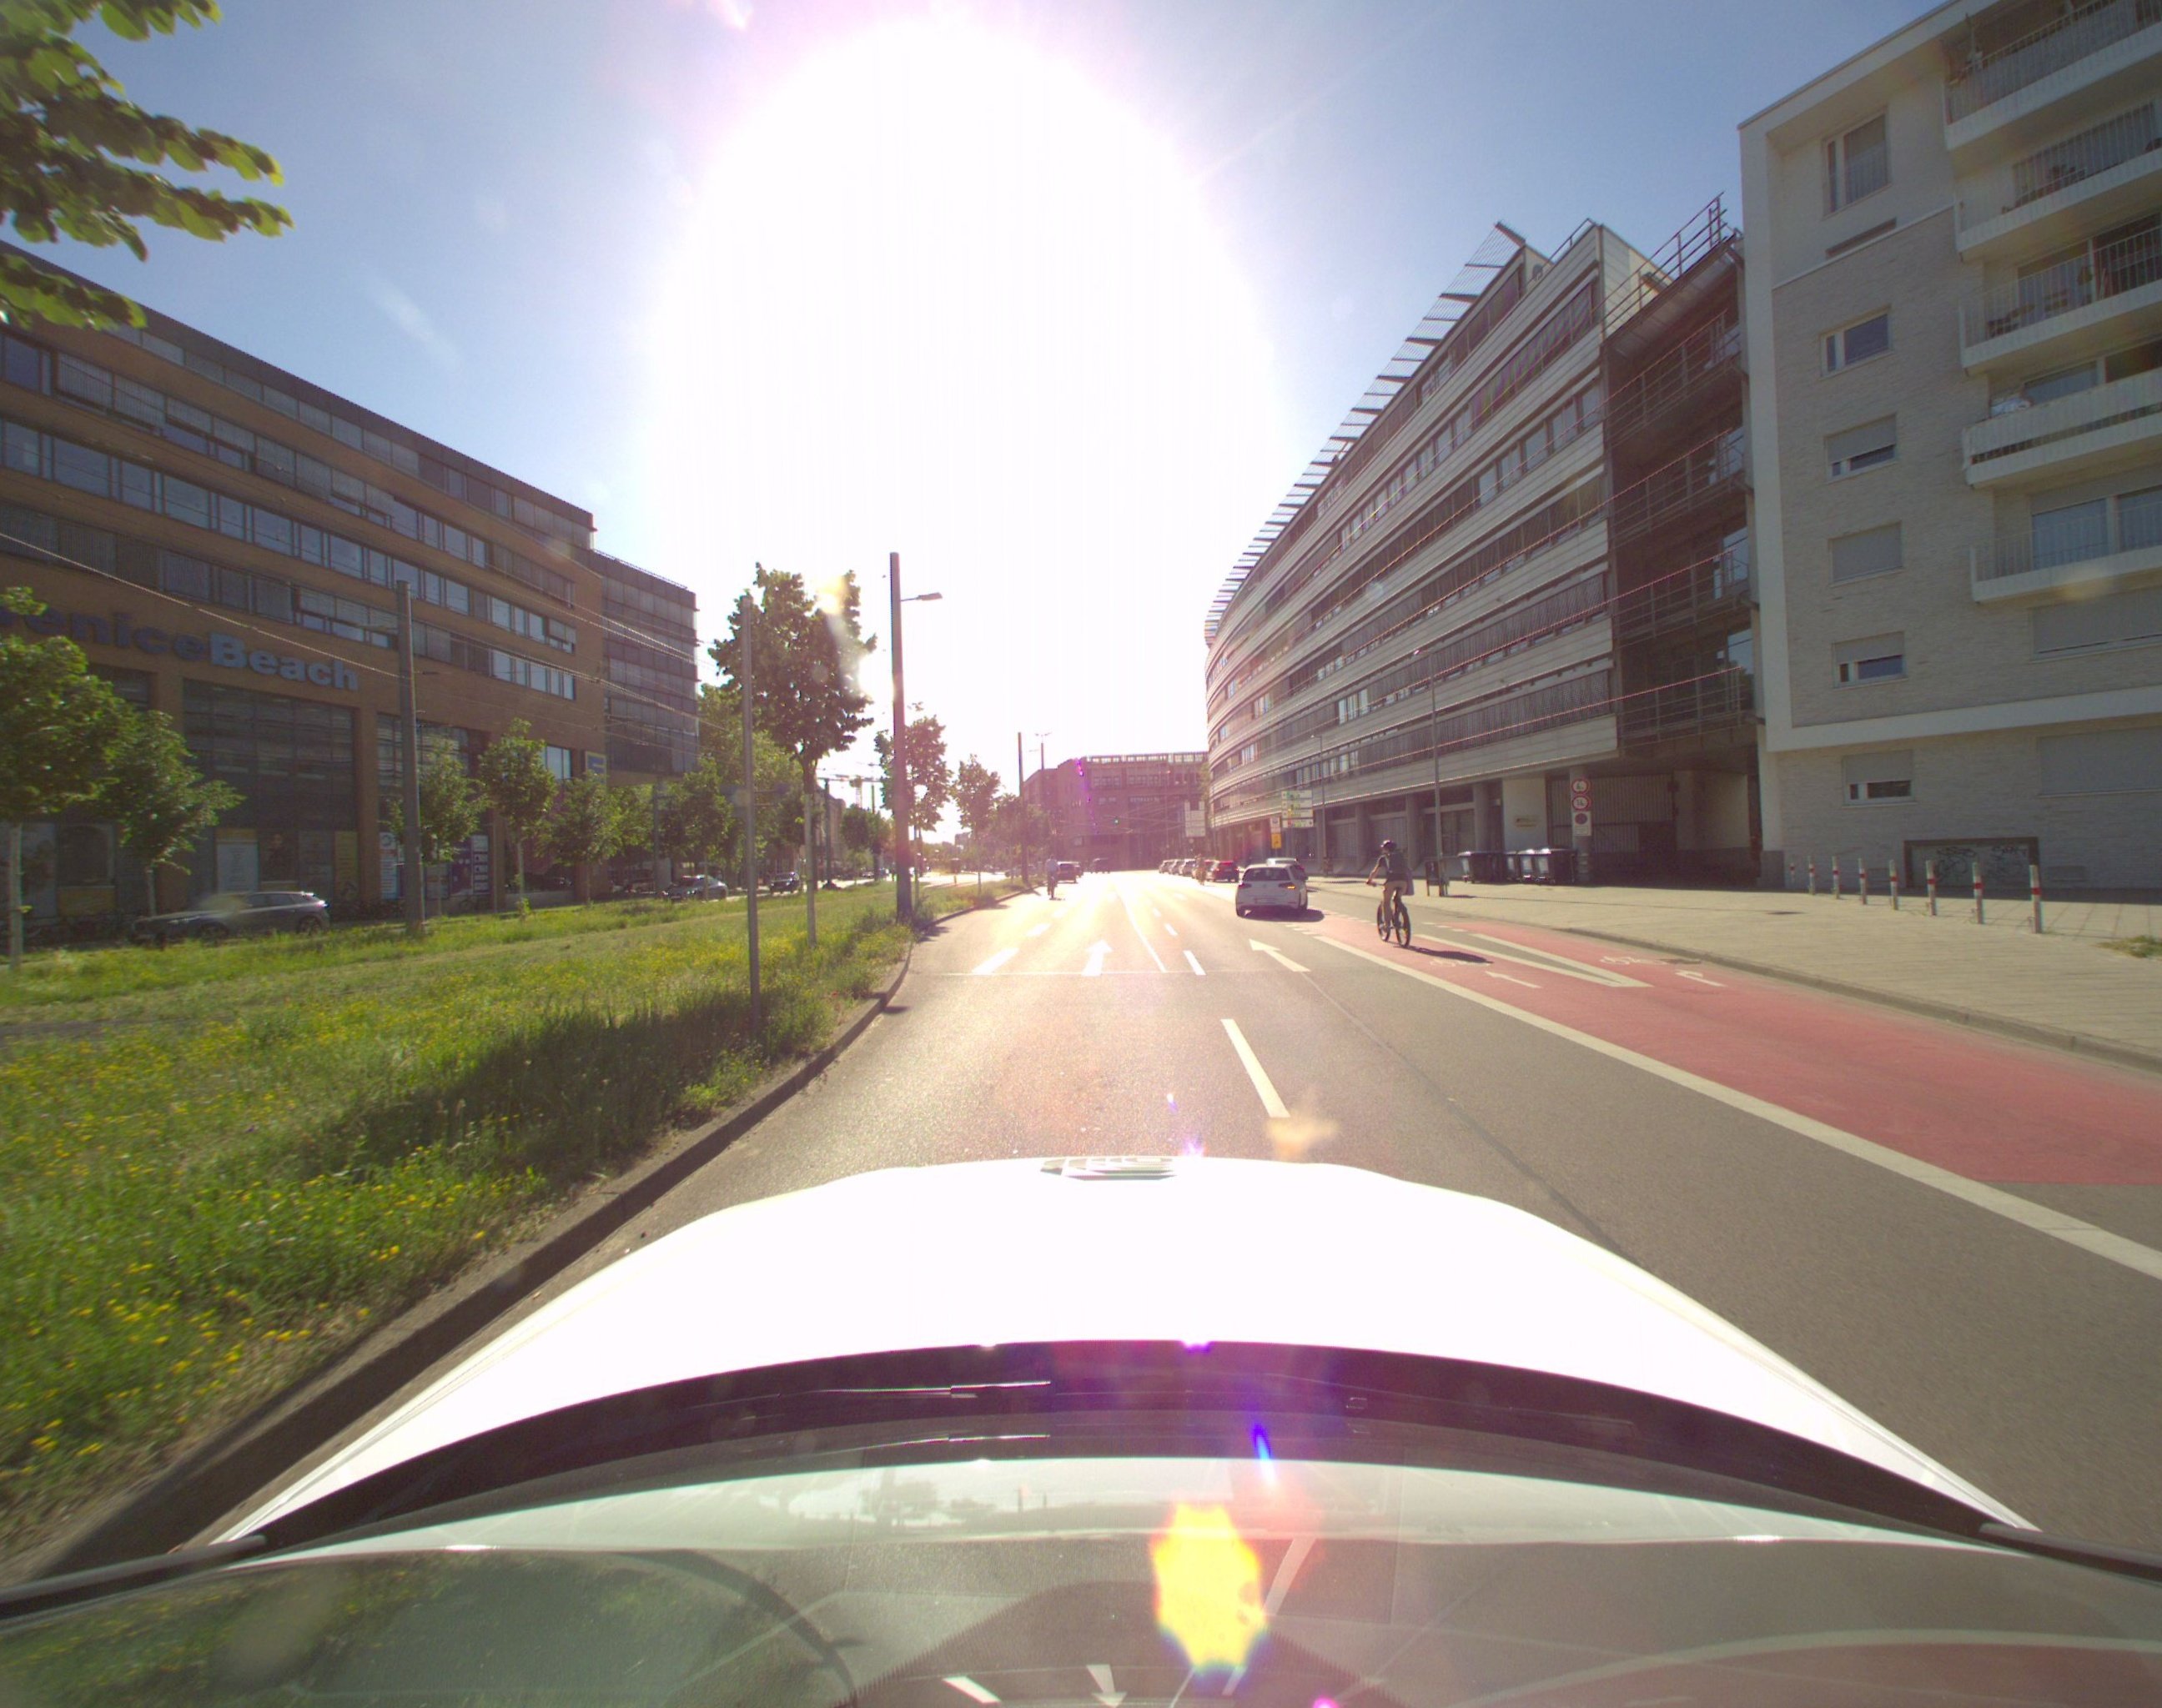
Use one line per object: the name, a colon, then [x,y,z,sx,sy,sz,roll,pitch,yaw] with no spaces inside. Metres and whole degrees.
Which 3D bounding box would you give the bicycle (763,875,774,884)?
bicycle: [-31.175,2.541,81.238,0.352,0.926,1.894,-2,-2,-1]

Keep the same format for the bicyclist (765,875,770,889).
bicyclist: [-31.167,2.742,80.989,0.339,1.377,0.481,-2,-2,-1]

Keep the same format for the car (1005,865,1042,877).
car: [-7.229,2.107,101.711,4.355,1.381,2.080,-3,-1,40]

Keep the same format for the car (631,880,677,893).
car: [-47.205,3.628,90.113,3.975,1.231,1.999,-2,-1,-1]

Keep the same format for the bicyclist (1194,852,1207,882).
bicyclist: [7.114,0.770,48.463,0.646,1.752,1.046,-2,0,3]

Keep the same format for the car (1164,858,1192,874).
car: [9.568,1.150,80.618,1.903,1.541,4.130,0,0,-5]

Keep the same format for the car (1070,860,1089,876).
car: [-0.180,1.319,77.935,1.722,1.449,4.518,-2,-1,-2]

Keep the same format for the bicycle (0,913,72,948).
bicycle: [-36.079,2.629,27.998,2.160,1.123,0.755,-1,-1,9]

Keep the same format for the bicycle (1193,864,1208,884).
bicycle: [7.147,1.189,48.800,0.646,1.110,1.759,-2,0,3]

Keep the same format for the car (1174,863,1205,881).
car: [9.818,1.600,73.889,1.903,1.583,4.131,0,0,-5]

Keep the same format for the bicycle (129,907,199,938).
bicycle: [-35.650,2.675,31.671,2.160,1.123,0.755,-1,-1,9]

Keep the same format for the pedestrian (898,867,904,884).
pedestrian: [-19.190,2.301,86.812,0.388,1.831,0.459,-2,-1,-32]

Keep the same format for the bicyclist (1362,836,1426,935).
bicyclist: [5.551,0.548,14.517,0.802,1.693,1.053,-1,-1,6]

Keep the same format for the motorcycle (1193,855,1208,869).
motorcycle: [9.974,0.682,68.099,0.826,1.201,2.389,-1,-1,0]

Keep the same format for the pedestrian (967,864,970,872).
pedestrian: [-23.556,2.900,170.071,0.539,1.655,0.703,-2,-1,-14]

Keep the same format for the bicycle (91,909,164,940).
bicycle: [-35.885,2.649,30.653,2.160,1.123,0.755,-1,-1,9]

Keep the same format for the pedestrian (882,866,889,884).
pedestrian: [-20.053,2.171,83.437,0.464,1.831,0.453,-2,-1,-38]

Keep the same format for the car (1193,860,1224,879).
car: [9.916,1.161,63.457,1.715,1.396,4.788,-2,-1,1]

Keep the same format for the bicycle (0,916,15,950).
bicycle: [-36.897,2.650,27.108,2.160,1.123,0.755,-1,-1,9]

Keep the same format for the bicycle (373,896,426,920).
bicycle: [-33.648,2.661,40.215,2.160,1.123,0.755,-1,-1,9]

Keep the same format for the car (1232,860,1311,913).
car: [5.632,0.873,23.716,1.758,1.403,4.314,0,0,20]

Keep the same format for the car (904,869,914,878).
car: [-30.966,3.479,146.571,1.611,1.398,3.903,-6,1,-12]

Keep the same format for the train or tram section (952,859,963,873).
train or tram section: [-29.417,2.847,193.220,2.326,3.003,13.116,-2,-1,-9]

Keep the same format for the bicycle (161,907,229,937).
bicycle: [-35.415,2.698,32.567,2.160,1.123,0.755,-1,-1,9]

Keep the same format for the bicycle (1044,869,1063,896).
bicycle: [-1.179,1.206,35.199,0.684,1.069,2.697,-1,0,1]

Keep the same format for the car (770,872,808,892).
car: [-21.590,2.058,60.357,1.422,1.359,3.298,-2,-1,3]

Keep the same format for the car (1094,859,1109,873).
car: [2.533,1.473,101.495,1.776,1.703,4.138,0,0,0]

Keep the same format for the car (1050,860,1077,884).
car: [-1.218,1.276,58.446,1.720,1.564,3.678,-2,-1,1]

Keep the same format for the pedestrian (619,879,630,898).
pedestrian: [-39.586,2.993,70.655,0.504,1.624,0.788,-2,-2,0]

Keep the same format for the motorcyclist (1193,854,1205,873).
motorcyclist: [9.926,0.765,68.410,0.826,1.561,0.941,-1,-1,-1]

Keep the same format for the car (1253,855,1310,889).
car: [9.623,0.846,39.434,1.716,1.524,4.399,-2,-1,1]

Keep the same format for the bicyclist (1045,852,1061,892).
bicyclist: [-1.189,0.776,35.068,0.615,1.670,1.020,-1,-1,1]

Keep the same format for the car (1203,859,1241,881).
car: [9.622,1.062,55.901,1.716,1.422,4.635,-2,-1,-1]

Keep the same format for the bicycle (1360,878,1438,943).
bicycle: [5.636,0.978,14.556,0.821,1.037,1.895,-1,0,6]

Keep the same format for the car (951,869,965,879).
car: [-23.556,3.830,156.084,2.266,1.727,3.923,-2,-1,-15]

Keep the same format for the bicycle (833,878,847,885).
bicycle: [-47.174,5.421,159.316,2.478,1.310,0.733,-2,-1,-3]

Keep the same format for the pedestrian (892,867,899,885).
pedestrian: [-19.276,2.280,84.612,0.585,1.831,0.492,-2,-1,-38]

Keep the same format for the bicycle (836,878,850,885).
bicycle: [-47.306,5.457,162.044,2.478,1.310,0.733,-2,-1,-3]

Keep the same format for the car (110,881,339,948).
car: [-26.051,1.780,25.056,1.984,1.681,4.545,-2,-1,5]

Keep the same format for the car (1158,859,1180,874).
car: [9.773,1.397,90.886,1.901,1.583,4.134,0,0,-2]

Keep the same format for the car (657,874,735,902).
car: [-21.851,1.913,46.467,1.985,1.334,4.793,-2,-1,3]

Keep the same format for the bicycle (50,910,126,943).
bicycle: [-36.164,2.640,29.675,2.160,1.123,0.755,-1,-1,9]

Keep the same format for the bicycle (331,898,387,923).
bicycle: [-34.045,2.668,38.430,2.160,1.123,0.755,-1,-1,9]

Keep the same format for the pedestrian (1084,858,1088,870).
pedestrian: [0.771,1.482,120.060,0.480,1.656,0.489,-2,-1,-17]

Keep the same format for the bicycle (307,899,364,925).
bicycle: [-34.331,2.657,37.519,2.160,1.123,0.755,-1,-1,9]
